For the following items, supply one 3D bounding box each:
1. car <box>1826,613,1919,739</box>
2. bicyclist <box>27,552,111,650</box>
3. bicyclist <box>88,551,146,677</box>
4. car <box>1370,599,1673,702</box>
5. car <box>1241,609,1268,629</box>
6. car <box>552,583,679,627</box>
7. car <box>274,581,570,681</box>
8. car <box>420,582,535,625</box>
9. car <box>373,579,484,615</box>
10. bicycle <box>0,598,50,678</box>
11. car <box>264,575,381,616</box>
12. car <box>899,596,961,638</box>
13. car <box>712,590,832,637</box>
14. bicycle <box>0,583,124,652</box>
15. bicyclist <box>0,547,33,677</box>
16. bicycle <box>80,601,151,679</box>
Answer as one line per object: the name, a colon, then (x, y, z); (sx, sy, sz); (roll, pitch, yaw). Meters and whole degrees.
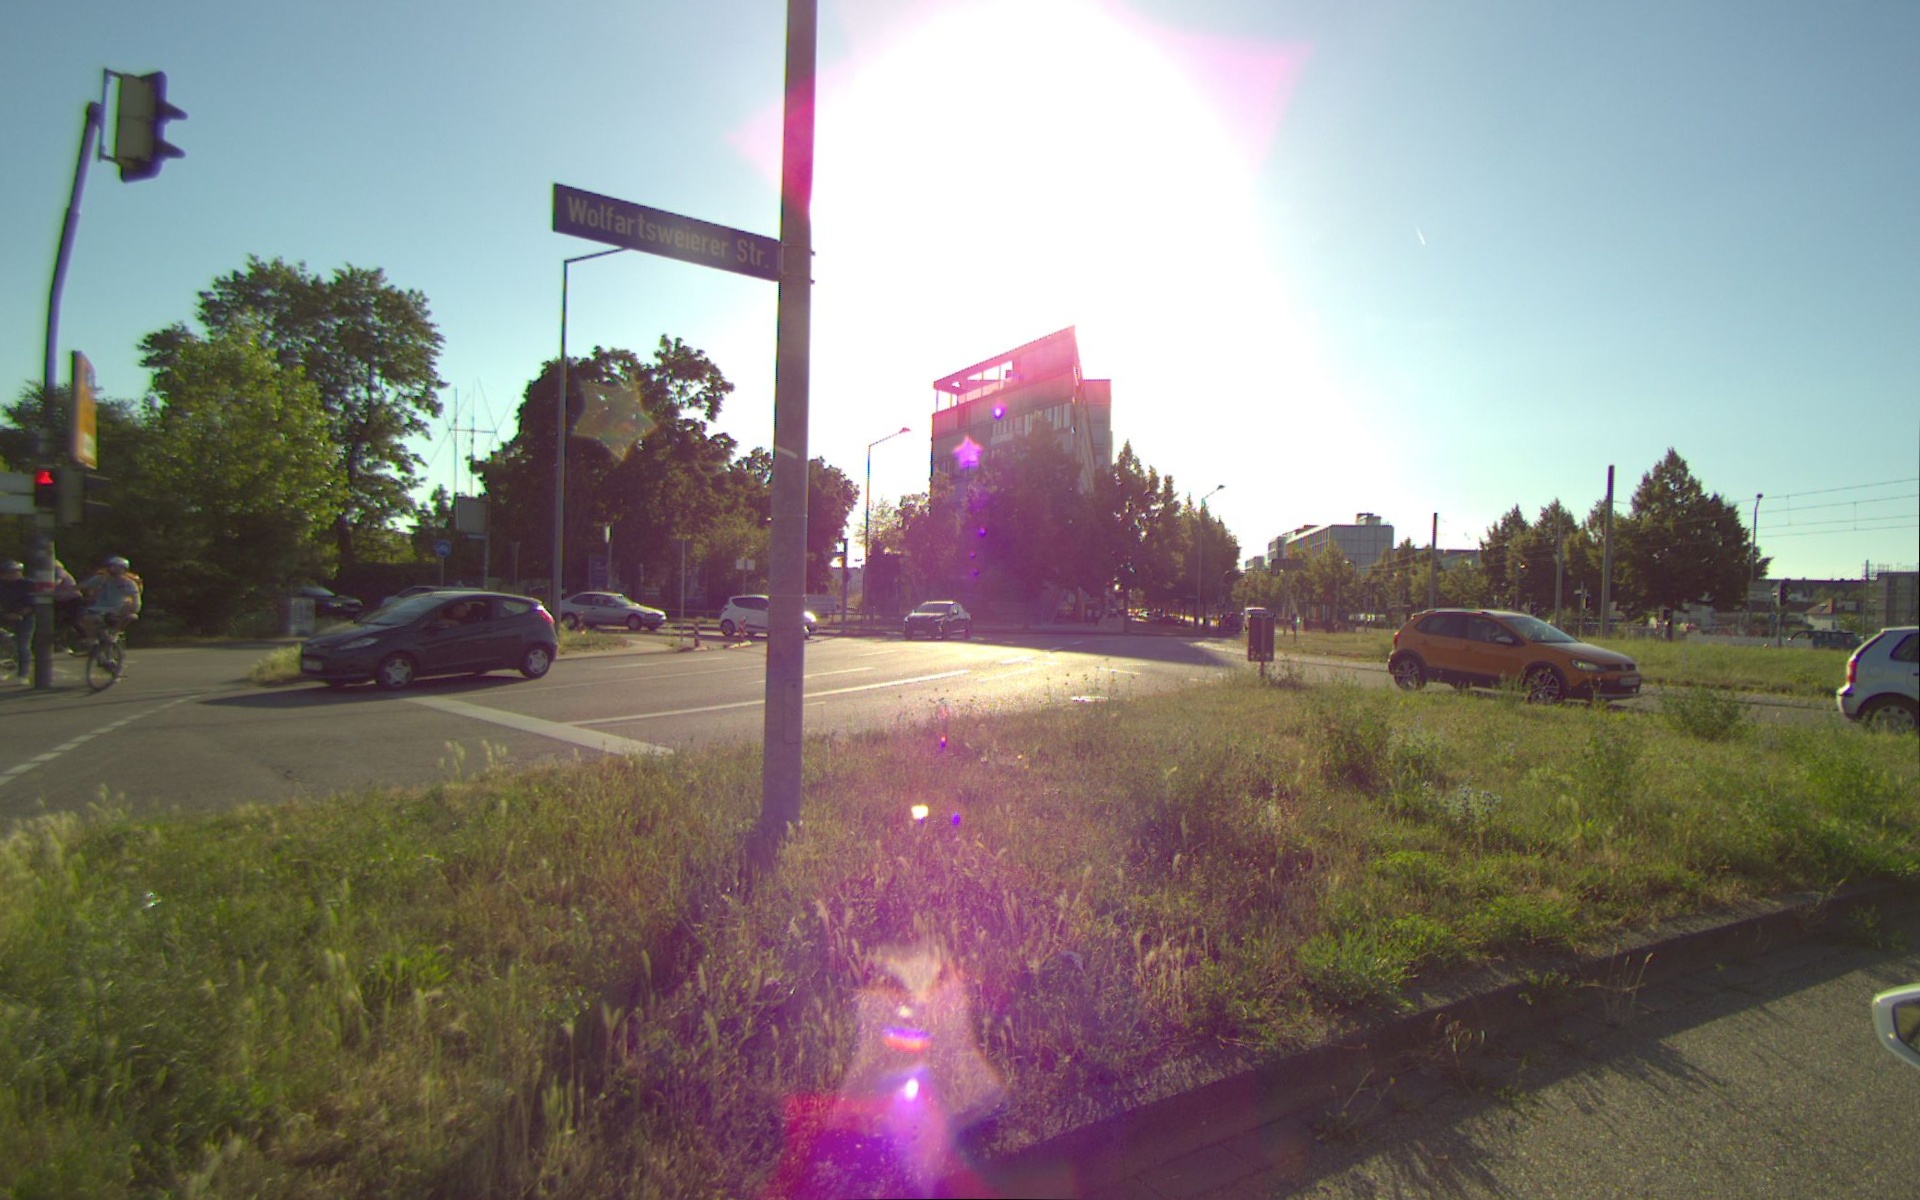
car: (12.621, 0.953, 11.551); (1.819, 1.453, 3.720); (2, 0, -36)
bicyclist: (-15.944, 0.013, 17.982); (0.696, 1.688, 0.831); (2, 0, 7)
bicyclist: (-12.519, 0.196, 14.930); (0.491, 1.813, 0.809); (2, 1, -31)
car: (9.295, 0.768, 17.000); (1.886, 1.464, 4.108); (2, 0, -28)
car: (30.493, 1.950, 104.032); (1.959, 2.040, 4.002); (2, 0, 7)
car: (-13.291, 0.190, 38.884); (4.221, 1.528, 1.876); (2, 0, 8)
car: (-8.465, 0.470, 16.172); (1.642, 1.394, 3.945); (1, -1, 29)
car: (-19.181, 0.139, 40.007); (3.633, 1.528, 1.876); (2, 0, 8)
car: (-25.122, -0.120, 47.619); (4.232, 1.528, 1.871); (2, 0, -11)
bicycle: (-13.720, 0.533, 14.315); (0.497, 1.033, 1.903); (3, 1, -23)
car: (-25.930, -0.168, 40.889); (3.633, 1.528, 1.876); (2, 0, 8)
car: (-1.110, 0.628, 38.510); (1.478, 1.473, 3.464); (2, 0, 13)
car: (-6.856, 0.474, 36.650); (3.900, 1.528, 1.847); (2, 0, 24)
bicycle: (-15.989, 0.306, 17.749); (0.711, 1.133, 1.824); (2, 0, 8)
bicyclist: (-13.662, 0.148, 14.229); (0.489, 1.794, 0.811); (3, 1, -24)
bicycle: (-12.601, 0.573, 15.029); (0.499, 1.033, 1.898); (3, 1, -31)
